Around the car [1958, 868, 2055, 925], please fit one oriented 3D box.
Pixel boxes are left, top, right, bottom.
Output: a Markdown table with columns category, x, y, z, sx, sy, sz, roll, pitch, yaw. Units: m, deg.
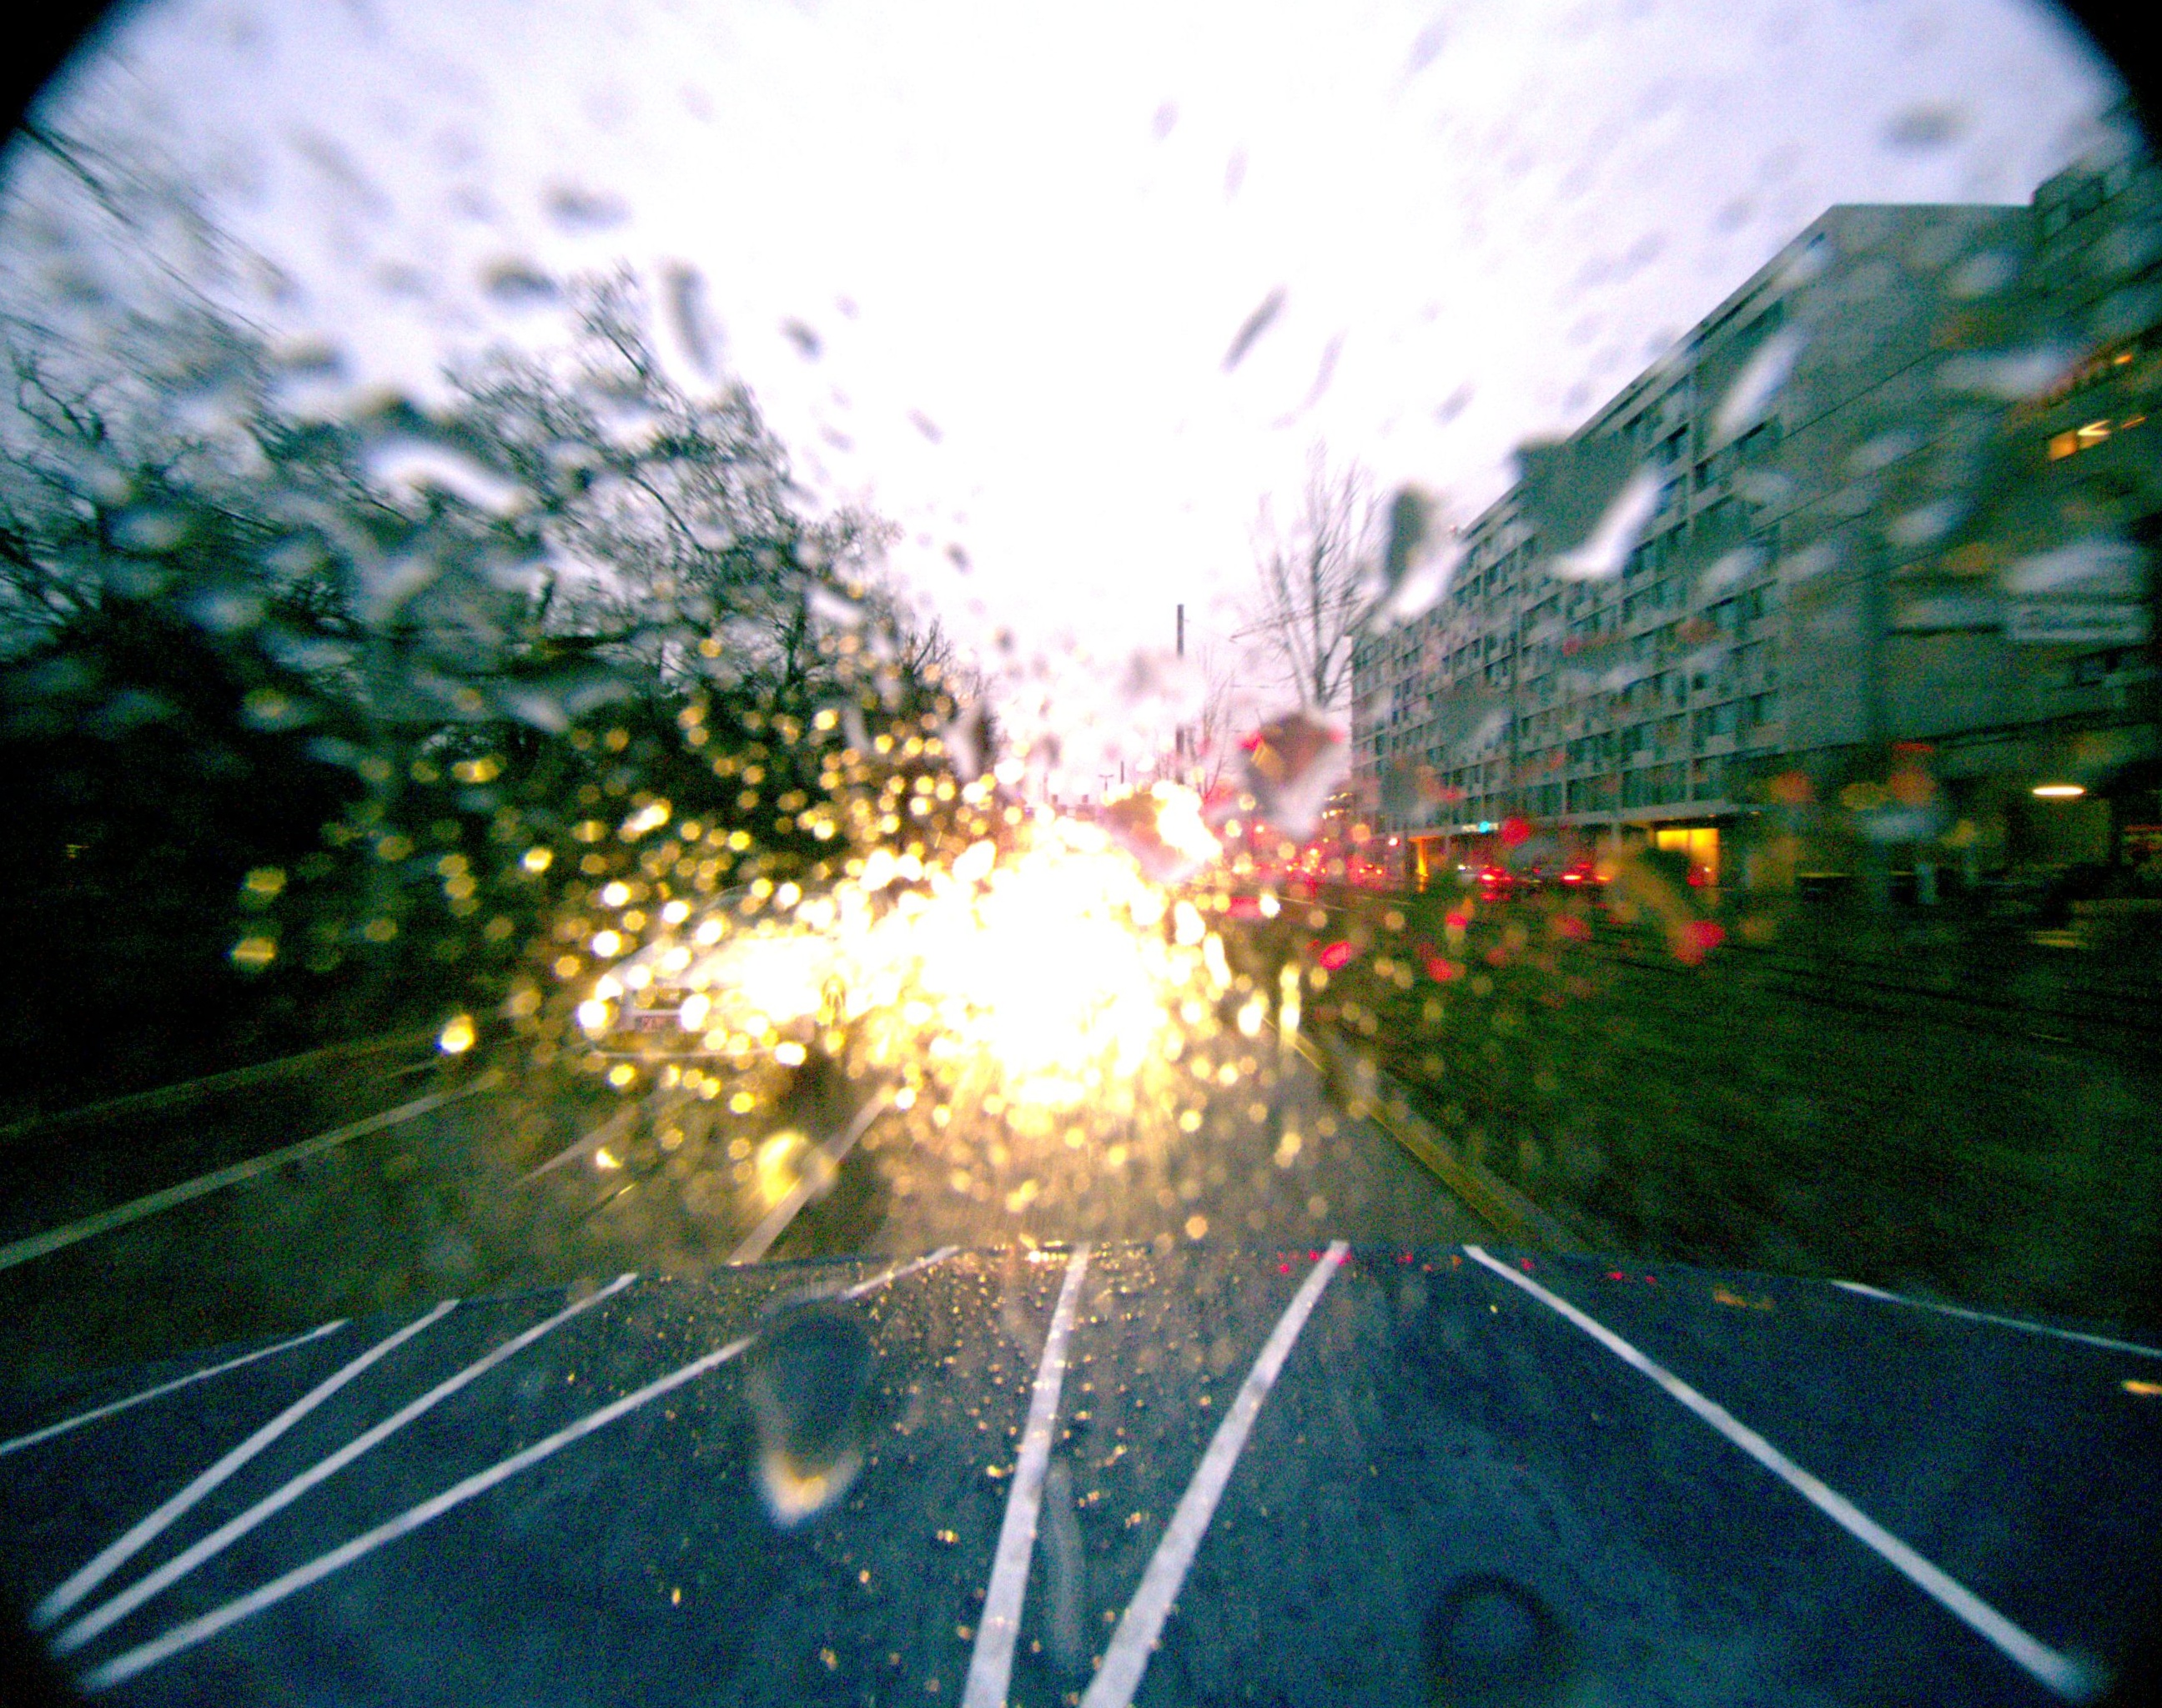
| category | x | y | z | sx | sy | sz | roll | pitch | yaw |
| --- | --- | --- | --- | --- | --- | --- | --- | --- | --- |
| car | 29.508 | 1.293 | 24.324 | 3.786 | 1.608 | 1.676 | 0 | 0 | -44 |

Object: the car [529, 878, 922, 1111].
| category | x | y | z | sx | sy | sz | roll | pitch | yaw |
| --- | --- | --- | --- | --- | --- | --- | --- | --- | --- |
| car | -2.876 | 1.038 | 7.261 | 1.778 | 1.453 | 4.040 | 0 | 0 | 1 |

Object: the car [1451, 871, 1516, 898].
| category | x | y | z | sx | sy | sz | roll | pitch | yaw |
| --- | --- | --- | --- | --- | --- | --- | --- | --- | --- |
| car | 23.826 | 1.762 | 45.137 | 1.754 | 1.440 | 3.873 | 0 | 0 | -1 |

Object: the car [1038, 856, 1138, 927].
| category | x | y | z | sx | sy | sz | roll | pitch | yaw |
| --- | --- | --- | --- | --- | --- | --- | --- | --- | --- |
| car | 0.175 | 0.805 | 18.386 | 2.160 | 1.489 | 4.007 | 0 | 0 | 1 |

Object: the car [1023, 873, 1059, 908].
| category | x | y | z | sx | sy | sz | roll | pitch | yaw |
| --- | --- | --- | --- | --- | --- | --- | --- | --- | --- |
| car | -2.107 | 1.906 | 40.620 | 1.679 | 1.670 | 3.865 | 0 | 0 | 1 |

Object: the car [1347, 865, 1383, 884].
| category | x | y | z | sx | sy | sz | roll | pitch | yaw |
| --- | --- | --- | --- | --- | --- | --- | --- | --- | --- |
| car | 24.029 | 1.705 | 64.444 | 1.596 | 1.440 | 3.873 | 0 | 0 | -1 |

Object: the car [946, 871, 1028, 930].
| category | x | y | z | sx | sy | sz | roll | pitch | yaw |
| --- | --- | --- | --- | --- | --- | --- | --- | --- | --- |
| car | -2.715 | 1.330 | 22.842 | 1.880 | 1.489 | 4.077 | 0 | 0 | 1 |

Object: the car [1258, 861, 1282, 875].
| category | x | y | z | sx | sy | sz | roll | pitch | yaw |
| --- | --- | --- | --- | --- | --- | --- | --- | --- | --- |
| car | 20.823 | 1.554 | 83.927 | 1.596 | 1.440 | 3.873 | 0 | 0 | -1 |

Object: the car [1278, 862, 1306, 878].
| category | x | y | z | sx | sy | sz | roll | pitch | yaw |
| --- | --- | --- | --- | --- | --- | --- | --- | --- | --- |
| car | 20.850 | 1.547 | 75.243 | 1.596 | 1.440 | 3.873 | 0 | 0 | -1 |

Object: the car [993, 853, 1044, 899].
| category | x | y | z | sx | sy | sz | roll | pitch | yaw |
| --- | --- | --- | --- | --- | --- | --- | --- | --- | --- |
| car | -2.455 | 0.831 | 30.752 | 1.679 | 1.739 | 3.865 | 0 | 0 | 1 |

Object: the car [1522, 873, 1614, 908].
| category | x | y | z | sx | sy | sz | roll | pitch | yaw |
| --- | --- | --- | --- | --- | --- | --- | --- | --- | --- |
| car | 22.605 | 1.669 | 35.445 | 1.754 | 1.440 | 3.873 | 0 | 0 | -1 |

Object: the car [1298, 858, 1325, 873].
| category | x | y | z | sx | sy | sz | roll | pitch | yaw |
| --- | --- | --- | --- | --- | --- | --- | --- | --- | --- |
| car | 23.956 | 1.180 | 79.120 | 1.596 | 1.440 | 3.873 | 0 | 0 | -1 |
